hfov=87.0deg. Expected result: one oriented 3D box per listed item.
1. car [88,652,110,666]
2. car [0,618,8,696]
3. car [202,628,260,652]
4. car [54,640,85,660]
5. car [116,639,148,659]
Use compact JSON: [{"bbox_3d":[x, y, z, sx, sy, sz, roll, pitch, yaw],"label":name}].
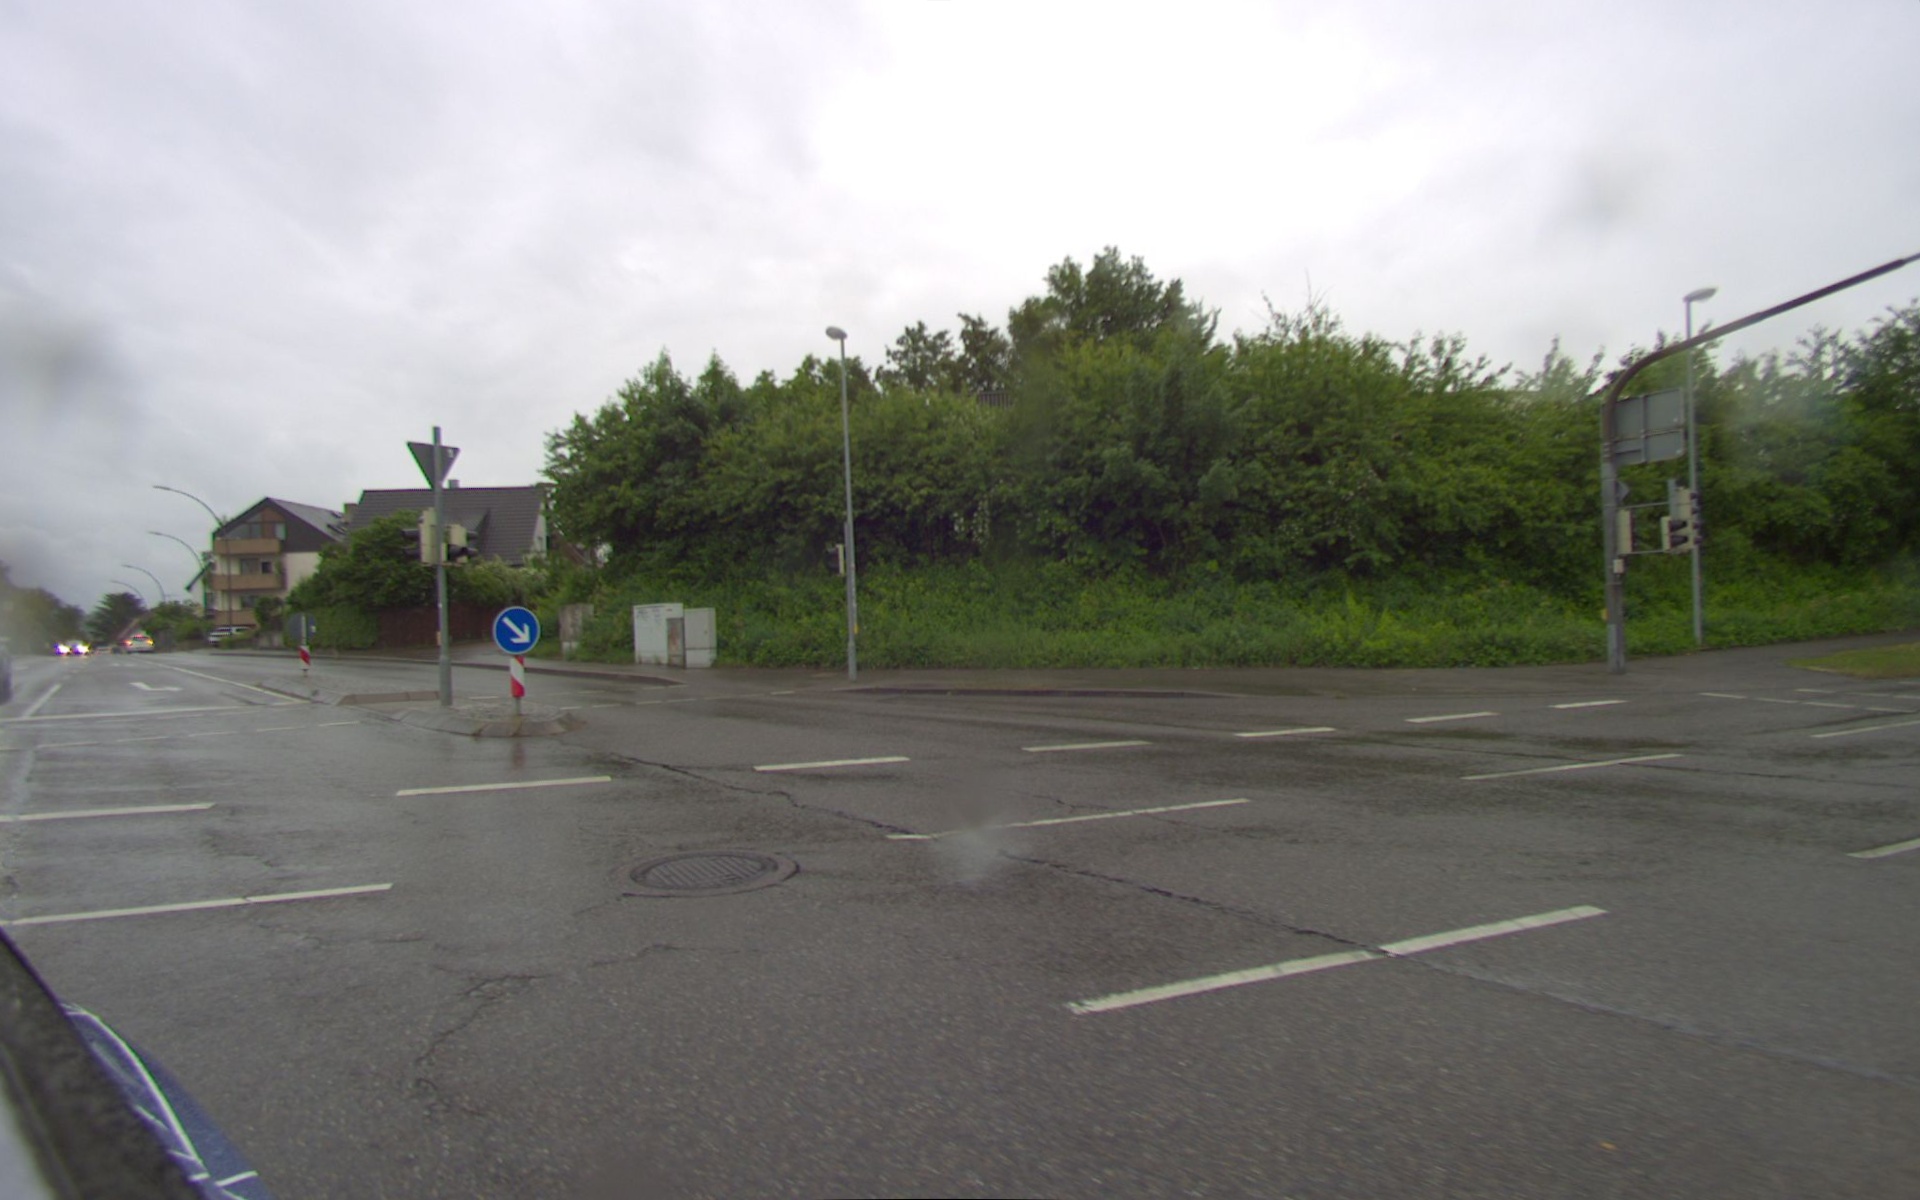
[{"bbox_3d":[-104.856,7.178,123.197,4.323,1.516,1.646,-2,-1,44],"label":"car"},{"bbox_3d":[-20.393,1.150,20.245,1.871,1.494,4.004,0,-1,-42],"label":"car"},{"bbox_3d":[-53.499,2.902,74.349,1.640,1.558,4.005,-1,0,-6],"label":"car"},{"bbox_3d":[-75.901,4.249,86.273,3.921,1.568,1.733,-1,0,45],"label":"car"},{"bbox_3d":[-65.451,3.840,79.971,3.824,1.516,1.602,-2,-2,45],"label":"car"}]
